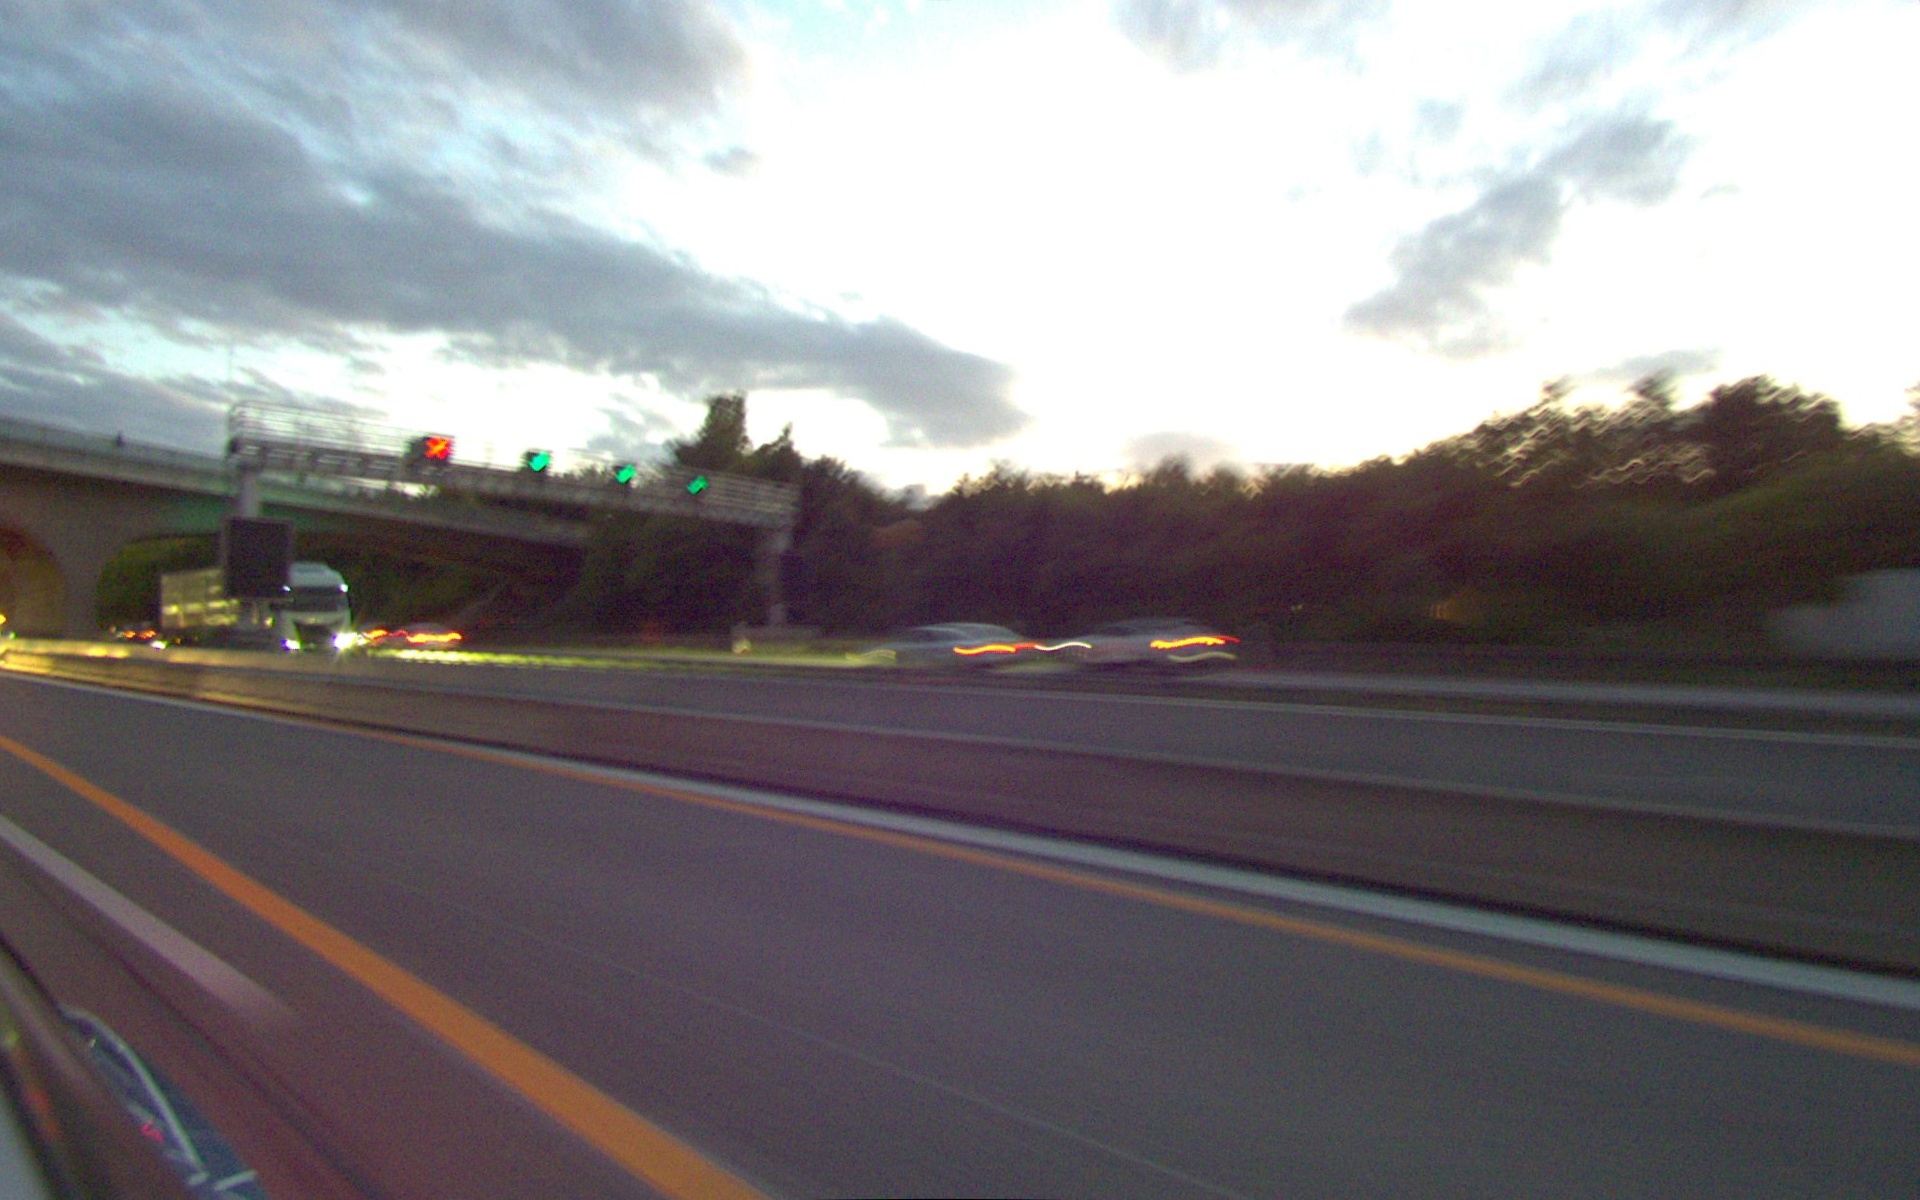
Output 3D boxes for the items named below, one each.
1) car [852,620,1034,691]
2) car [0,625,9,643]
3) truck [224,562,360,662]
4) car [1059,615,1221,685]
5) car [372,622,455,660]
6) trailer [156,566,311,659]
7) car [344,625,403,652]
[{"bbox_3d":[-0.534,1.393,26.942,4.837,1.673,1.812,-1,0,40],"label":"car"},{"bbox_3d":[-80.517,2.815,83.875,3.992,1.492,1.771,-1,0,36],"label":"car"},{"bbox_3d":[-27.485,0.464,41.541,6.294,3.803,2.776,-1,0,38],"label":"truck"},{"bbox_3d":[4.841,1.292,27.476,3.941,1.727,1.887,-1,0,41],"label":"car"},{"bbox_3d":[-26.187,1.934,48.411,4.837,1.673,1.812,-1,0,40],"label":"car"},{"bbox_3d":[-33.510,0.544,46.395,11.822,3.811,2.771,-1,0,39],"label":"trailer"},{"bbox_3d":[-34.290,2.202,59.129,3.925,1.466,1.686,-1,0,39],"label":"car"}]
